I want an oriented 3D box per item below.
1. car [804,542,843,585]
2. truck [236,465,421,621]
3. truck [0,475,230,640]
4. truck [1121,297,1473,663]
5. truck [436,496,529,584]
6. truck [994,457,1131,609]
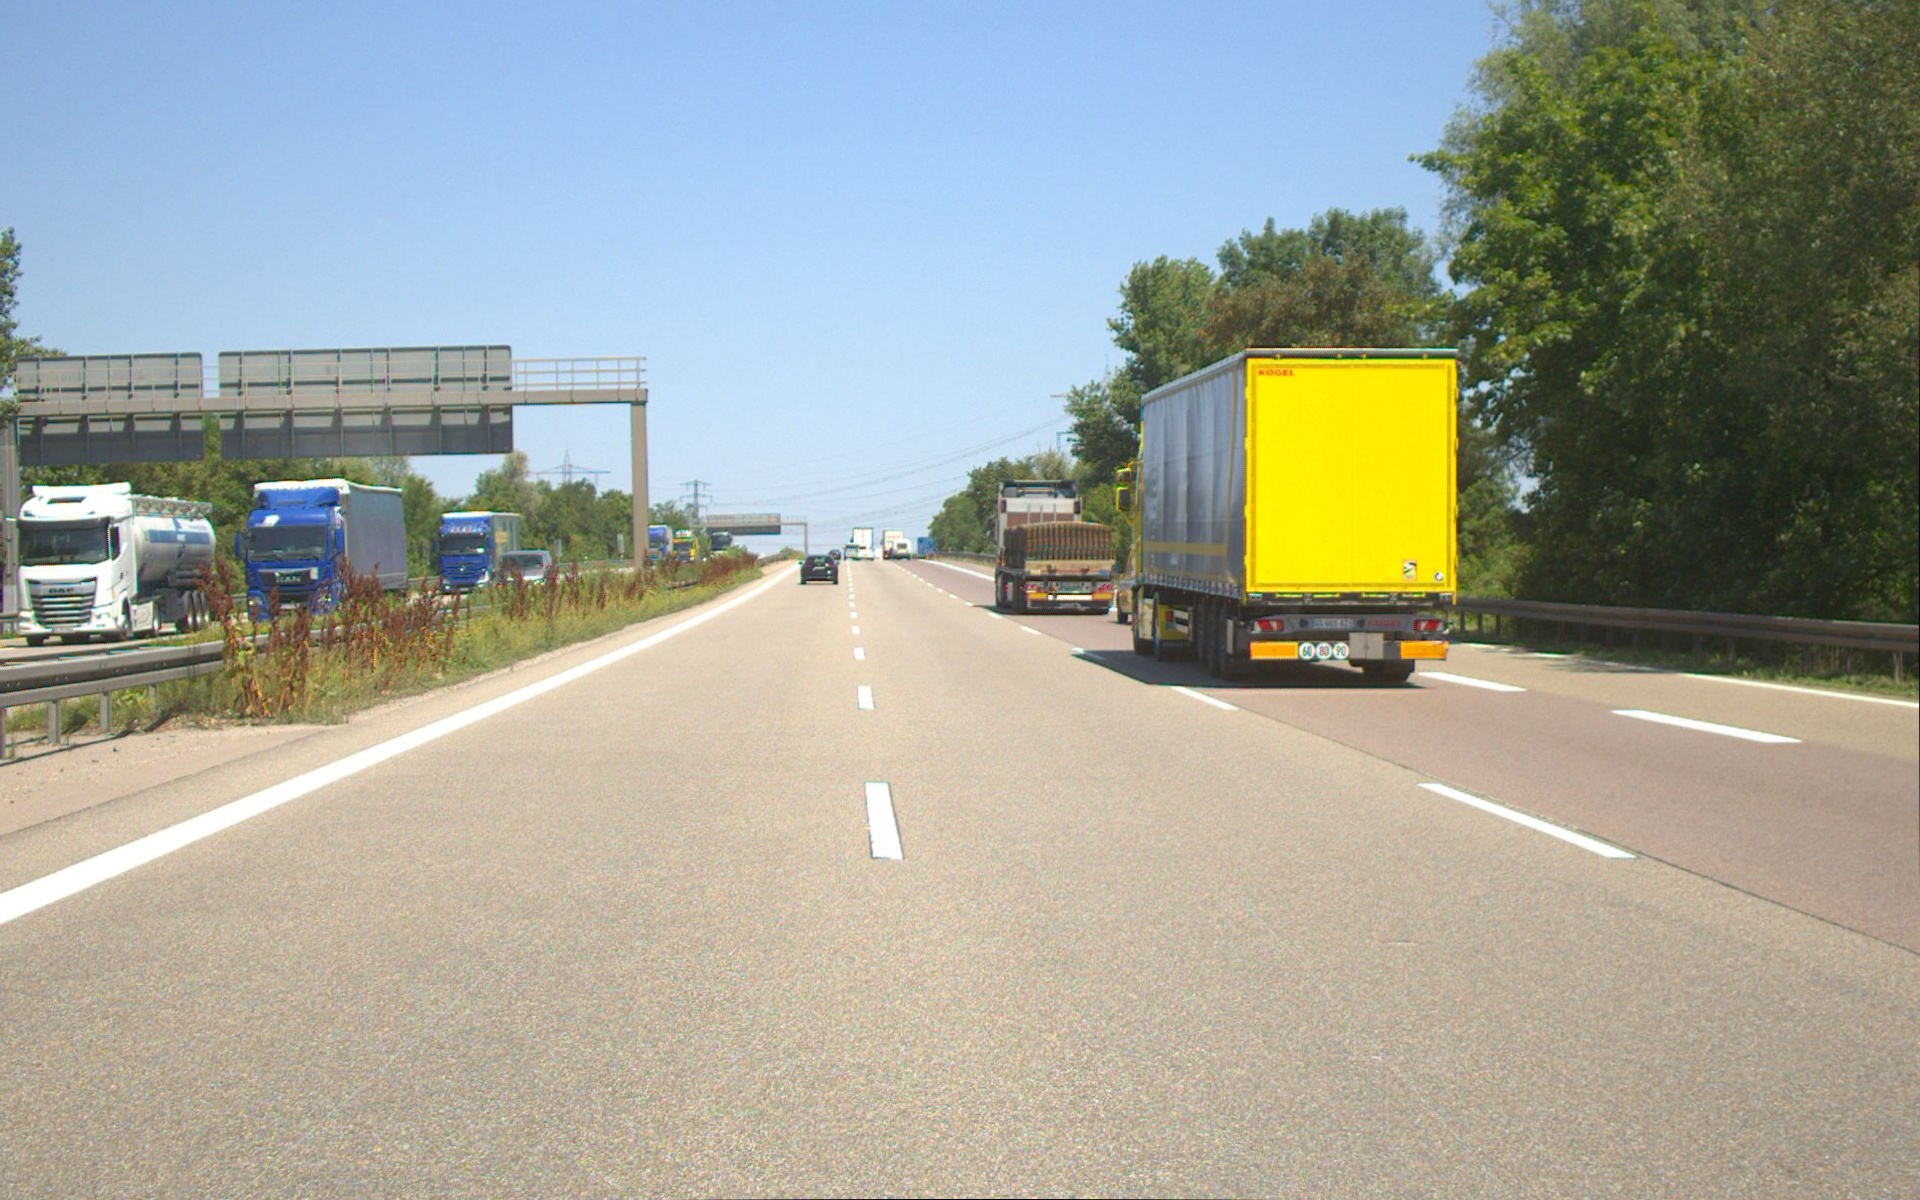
[{"bbox_3d":[-6.485,-1.712,164.077,1.791,2.007,3.888,0,0,-1],"label":"car"},{"bbox_3d":[-18.780,-1.706,103.494,2.955,4.231,17.183,-2,1,-2],"label":"truck"},{"bbox_3d":[-22.748,-1.171,93.470,2.955,4.004,15.822,-2,1,-2],"label":"truck"},{"bbox_3d":[4.355,-1.474,48.757,2.845,4.243,16.792,-1,0,-1],"label":"truck"},{"bbox_3d":[-25.055,-3.138,181.214,2.955,4.327,18.244,-2,1,-2],"label":"truck"},{"bbox_3d":[2.766,-1.812,98.236,2.969,3.943,16.614,0,0,-1],"label":"truck"}]
